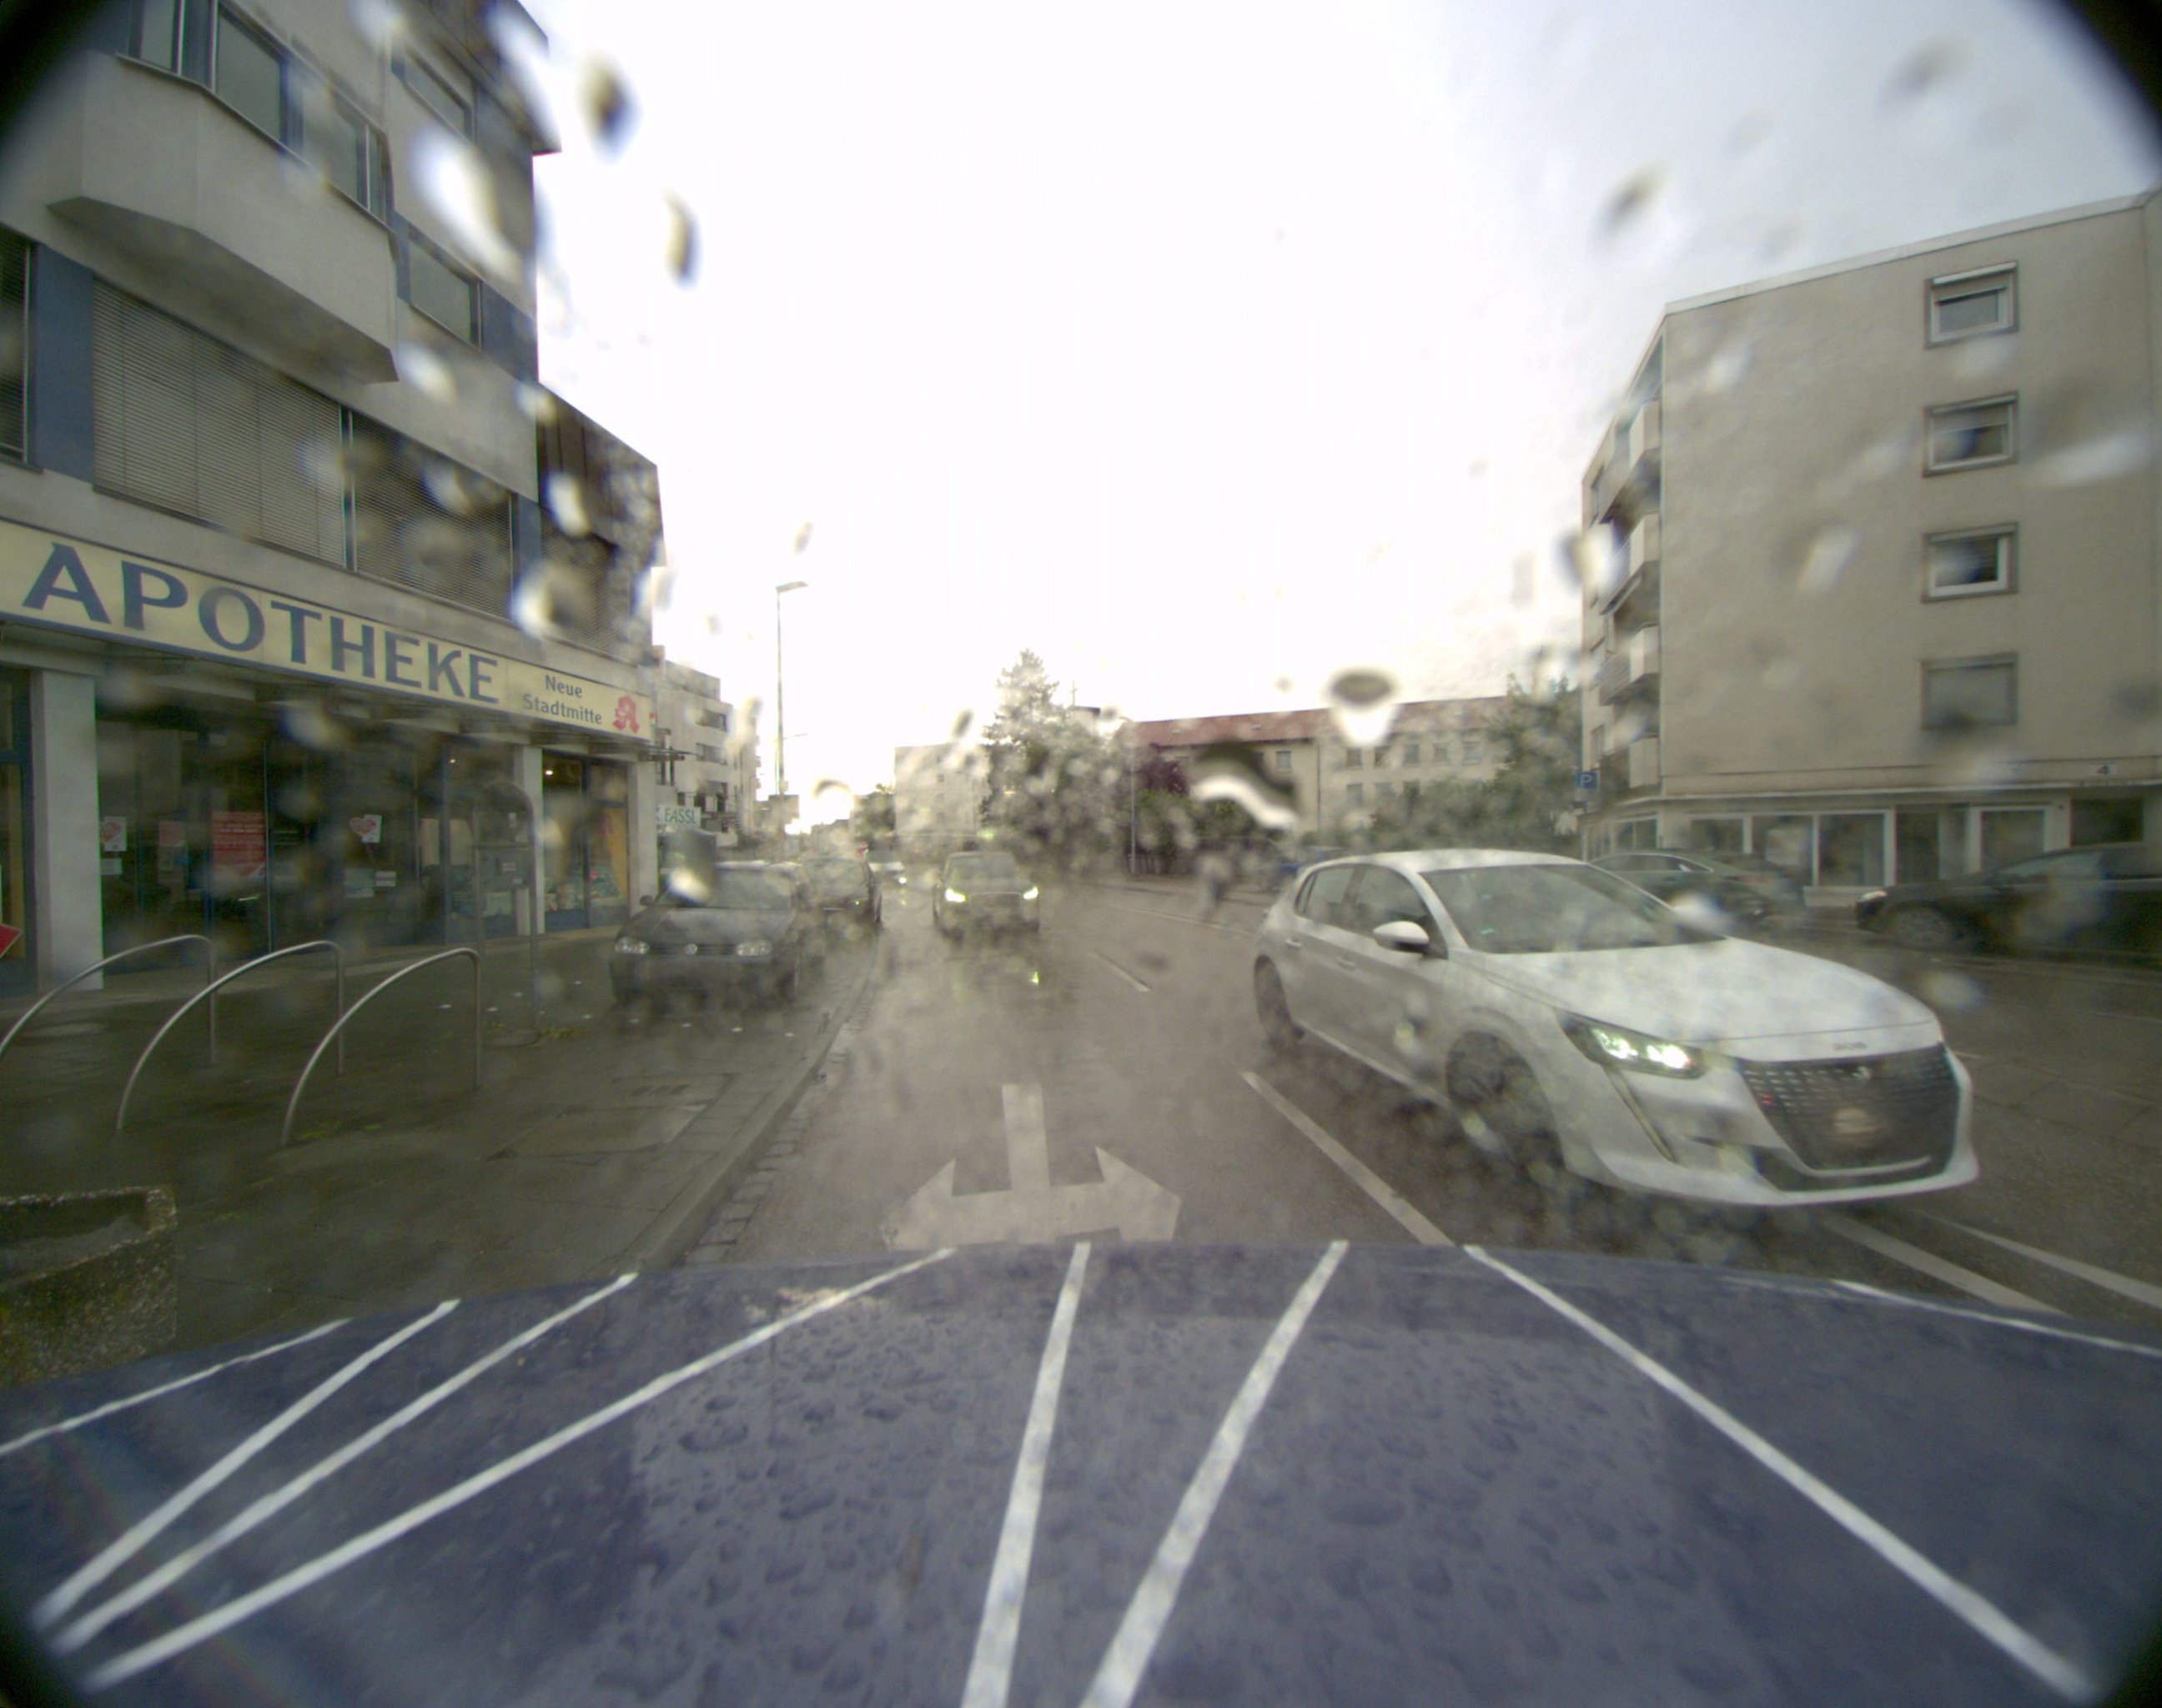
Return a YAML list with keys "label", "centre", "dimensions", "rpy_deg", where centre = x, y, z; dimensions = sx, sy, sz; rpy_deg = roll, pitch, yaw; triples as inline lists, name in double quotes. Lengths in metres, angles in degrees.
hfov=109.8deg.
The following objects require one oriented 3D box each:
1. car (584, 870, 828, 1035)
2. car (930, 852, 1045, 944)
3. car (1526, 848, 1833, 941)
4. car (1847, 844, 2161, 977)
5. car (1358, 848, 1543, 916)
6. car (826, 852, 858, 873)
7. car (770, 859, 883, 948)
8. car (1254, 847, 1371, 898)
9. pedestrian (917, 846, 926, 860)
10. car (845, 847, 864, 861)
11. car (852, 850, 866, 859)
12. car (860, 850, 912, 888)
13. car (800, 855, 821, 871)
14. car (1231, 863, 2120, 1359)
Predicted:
- label: "car"
  centre: [-4.011, 0.938, 8.778]
  dimensions: [1.656, 1.364, 3.727]
  rpy_deg: [1, 0, -12]
- label: "car"
  centre: [-1.982, 0.747, 15.107]
  dimensions: [1.736, 1.436, 4.040]
  rpy_deg: [-2, 2, -14]
- label: "car"
  centre: [11.139, 0.638, 14.563]
  dimensions: [1.839, 1.426, 4.266]
  rpy_deg: [-2, 2, -21]
- label: "car"
  centre: [12.914, 0.633, 9.595]
  dimensions: [1.839, 1.451, 4.180]
  rpy_deg: [-2, 2, -21]
- label: "car"
  centre: [9.256, 0.620, 19.475]
  dimensions: [1.639, 1.491, 4.338]
  rpy_deg: [-1, 1, -21]
- label: "car"
  centre: [-17.320, 0.554, 54.965]
  dimensions: [1.804, 1.361, 3.964]
  rpy_deg: [-1, 2, -24]
- label: "car"
  centre: [-4.808, 0.846, 14.849]
  dimensions: [1.660, 1.416, 3.995]
  rpy_deg: [-1, 1, -12]
- label: "car"
  centre: [7.433, 0.523, 24.780]
  dimensions: [1.636, 1.497, 3.873]
  rpy_deg: [-1, 1, -20]
- label: "pedestrian"
  centre: [-19.542, -0.094, 93.197]
  dimensions: [0.857, 1.726, 0.834]
  rpy_deg: [-1, 2, -29]
- label: "car"
  centre: [-24.431, -0.020, 81.931]
  dimensions: [1.753, 1.446, 3.806]
  rpy_deg: [-1, 2, -21]
- label: "car"
  centre: [-34.543, 0.059, 118.119]
  dimensions: [1.874, 1.428, 3.733]
  rpy_deg: [-1, 1, -20]
- label: "car"
  centre: [-8.535, 0.607, 33.041]
  dimensions: [1.736, 1.519, 4.056]
  rpy_deg: [-1, 0, -21]
- label: "car"
  centre: [-29.009, 0.968, 81.471]
  dimensions: [2.002, 1.606, 3.993]
  rpy_deg: [-3, 1, -20]
- label: "car"
  centre: [2.420, 0.824, 4.410]
  dimensions: [1.744, 1.401, 3.892]
  rpy_deg: [-3, 1, -9]
